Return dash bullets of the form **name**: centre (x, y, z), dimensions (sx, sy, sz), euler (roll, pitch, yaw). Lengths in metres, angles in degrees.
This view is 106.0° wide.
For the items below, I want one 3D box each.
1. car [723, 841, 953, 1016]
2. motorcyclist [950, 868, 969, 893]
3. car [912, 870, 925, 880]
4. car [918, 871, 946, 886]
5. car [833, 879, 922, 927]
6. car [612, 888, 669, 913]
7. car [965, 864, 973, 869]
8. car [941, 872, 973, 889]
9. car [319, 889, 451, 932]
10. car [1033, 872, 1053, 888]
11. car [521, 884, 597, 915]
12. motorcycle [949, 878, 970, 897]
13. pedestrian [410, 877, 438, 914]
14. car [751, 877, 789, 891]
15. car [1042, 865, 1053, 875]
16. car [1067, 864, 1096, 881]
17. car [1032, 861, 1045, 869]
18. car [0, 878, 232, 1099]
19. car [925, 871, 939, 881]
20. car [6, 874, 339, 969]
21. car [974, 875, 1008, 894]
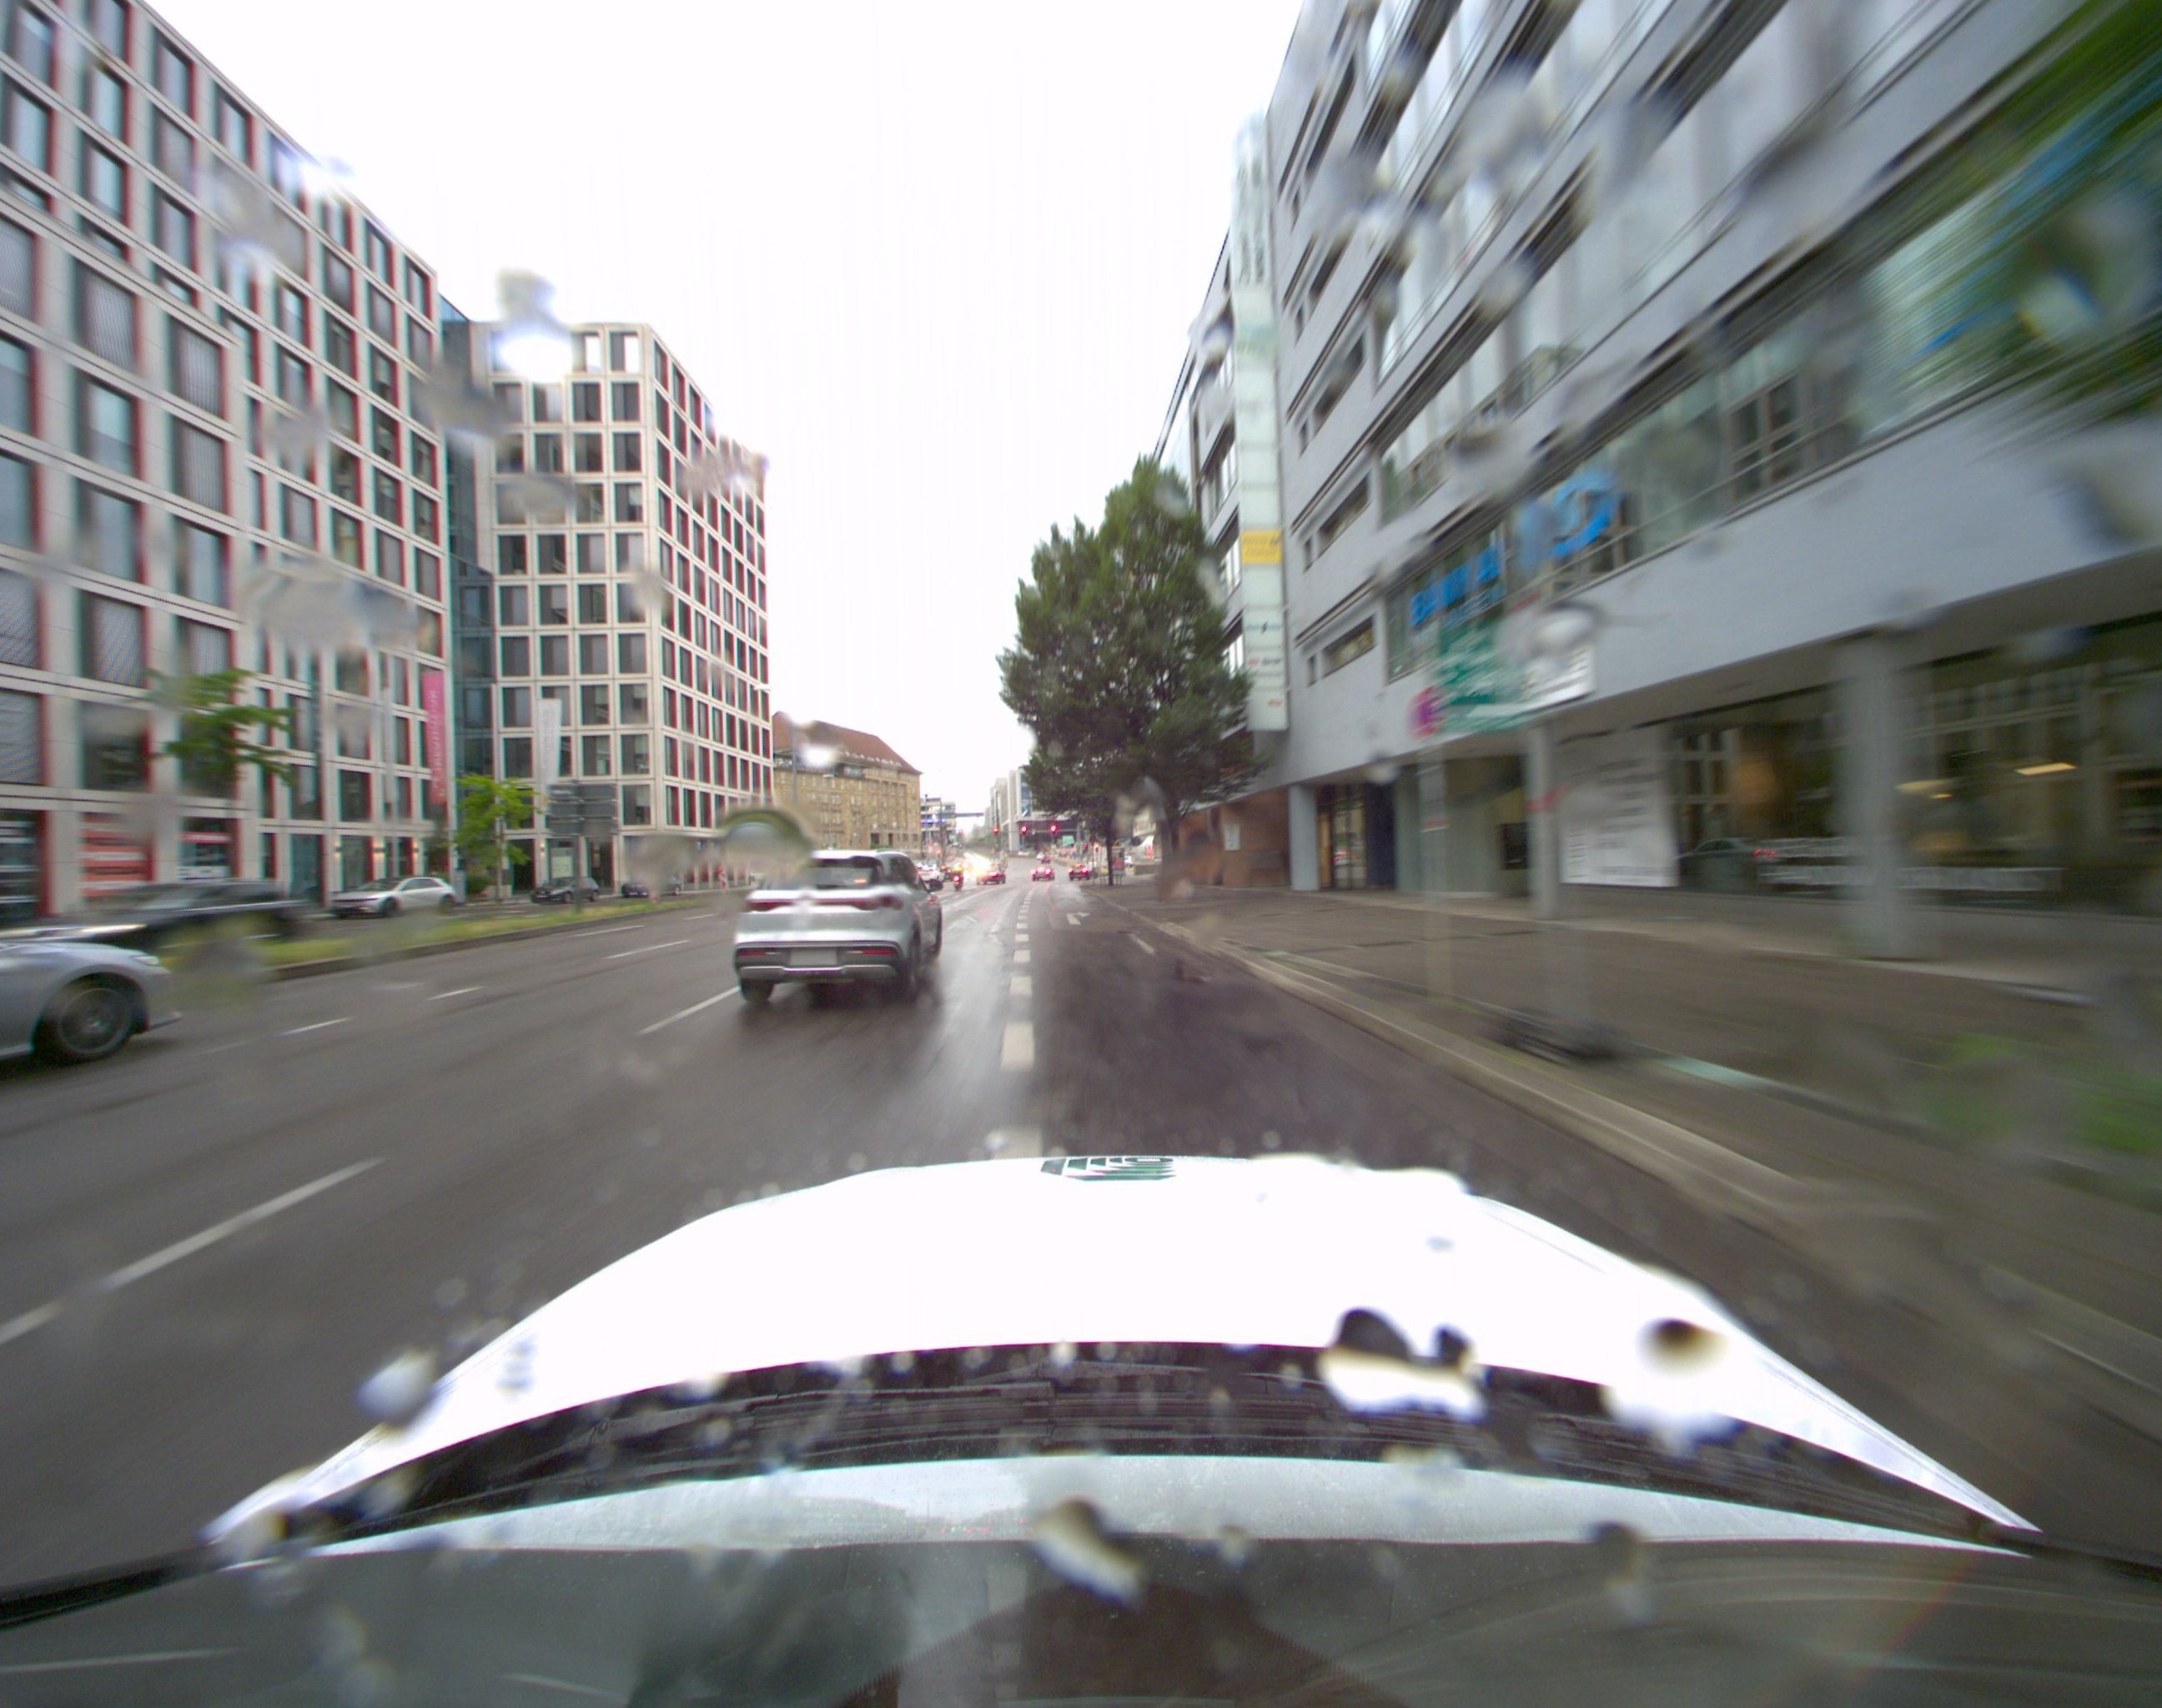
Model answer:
- **car**: centre (-2.682, 0.760, 9.984), dimensions (1.805, 1.661, 4.164), euler (-1, -1, -4)
- **motorcyclist**: centre (-7.173, 1.567, 48.163), dimensions (0.939, 1.476, 1.099), euler (-1, -1, -2)
- **car**: centre (-27.033, 3.451, 135.506), dimensions (1.695, 1.574, 3.993), euler (-1, -1, -5)
- **car**: centre (-13.679, 2.236, 74.916), dimensions (1.777, 1.373, 3.993), euler (-1, -1, 0)
- **car**: centre (-6.635, 1.567, 27.018), dimensions (1.726, 1.404, 4.384), euler (-1, -1, 1)
- **car**: centre (-28.936, 3.039, 53.636), dimensions (1.694, 1.424, 3.951), euler (-3, -1, -3)
- **car**: centre (-32.185, 3.526, 234.092), dimensions (1.763, 1.260, 4.190), euler (-1, -1, -3)
- **car**: centre (-12.376, 2.675, 81.585), dimensions (1.771, 1.600, 4.087), euler (-1, -1, 13)
- **car**: centre (-28.002, 2.229, 32.963), dimensions (1.694, 1.424, 4.369), euler (-3, -1, -3)
- **car**: centre (-3.659, 2.489, 78.845), dimensions (1.777, 1.402, 4.486), euler (-1, 1, 0)
- **car**: centre (-28.396, 2.462, 44.448), dimensions (1.694, 1.424, 3.951), euler (-3, -1, -3)
- **motorcycle**: centre (-7.155, 1.967, 48.151), dimensions (0.939, 0.989, 2.293), euler (-1, -1, -1)
- **pedestrian**: centre (-31.186, 1.960, 38.664), dimensions (0.611, 1.734, 0.965), euler (-1, -1, -6)
- **car**: centre (-39.035, 3.792, 102.298), dimensions (4.395, 1.662, 1.987), euler (0, -1, -20)
- **car**: centre (-6.845, 3.260, 165.542), dimensions (1.991, 2.014, 3.991), euler (-1, -1, -6)
- **car**: centre (0.056, 1.715, 75.063), dimensions (1.878, 1.544, 4.006), euler (-1, -1, 12)
- **car**: centre (-10.094, 2.725, 194.036), dimensions (2.002, 1.816, 3.969), euler (0, -1, -23)
- **car**: centre (-8.401, 0.937, 4.803), dimensions (1.826, 1.521, 4.797), euler (-1, -1, -2)
- **car**: centre (-23.912, 3.566, 130.954), dimensions (1.799, 1.574, 4.067), euler (-1, -1, -5)
- **car**: centre (-18.185, 1.243, 16.769), dimensions (1.824, 1.632, 4.861), euler (-1, -1, -8)
- **car**: centre (-7.518, 2.559, 68.525), dimensions (1.878, 1.515, 5.007), euler (-1, -1, 4)
